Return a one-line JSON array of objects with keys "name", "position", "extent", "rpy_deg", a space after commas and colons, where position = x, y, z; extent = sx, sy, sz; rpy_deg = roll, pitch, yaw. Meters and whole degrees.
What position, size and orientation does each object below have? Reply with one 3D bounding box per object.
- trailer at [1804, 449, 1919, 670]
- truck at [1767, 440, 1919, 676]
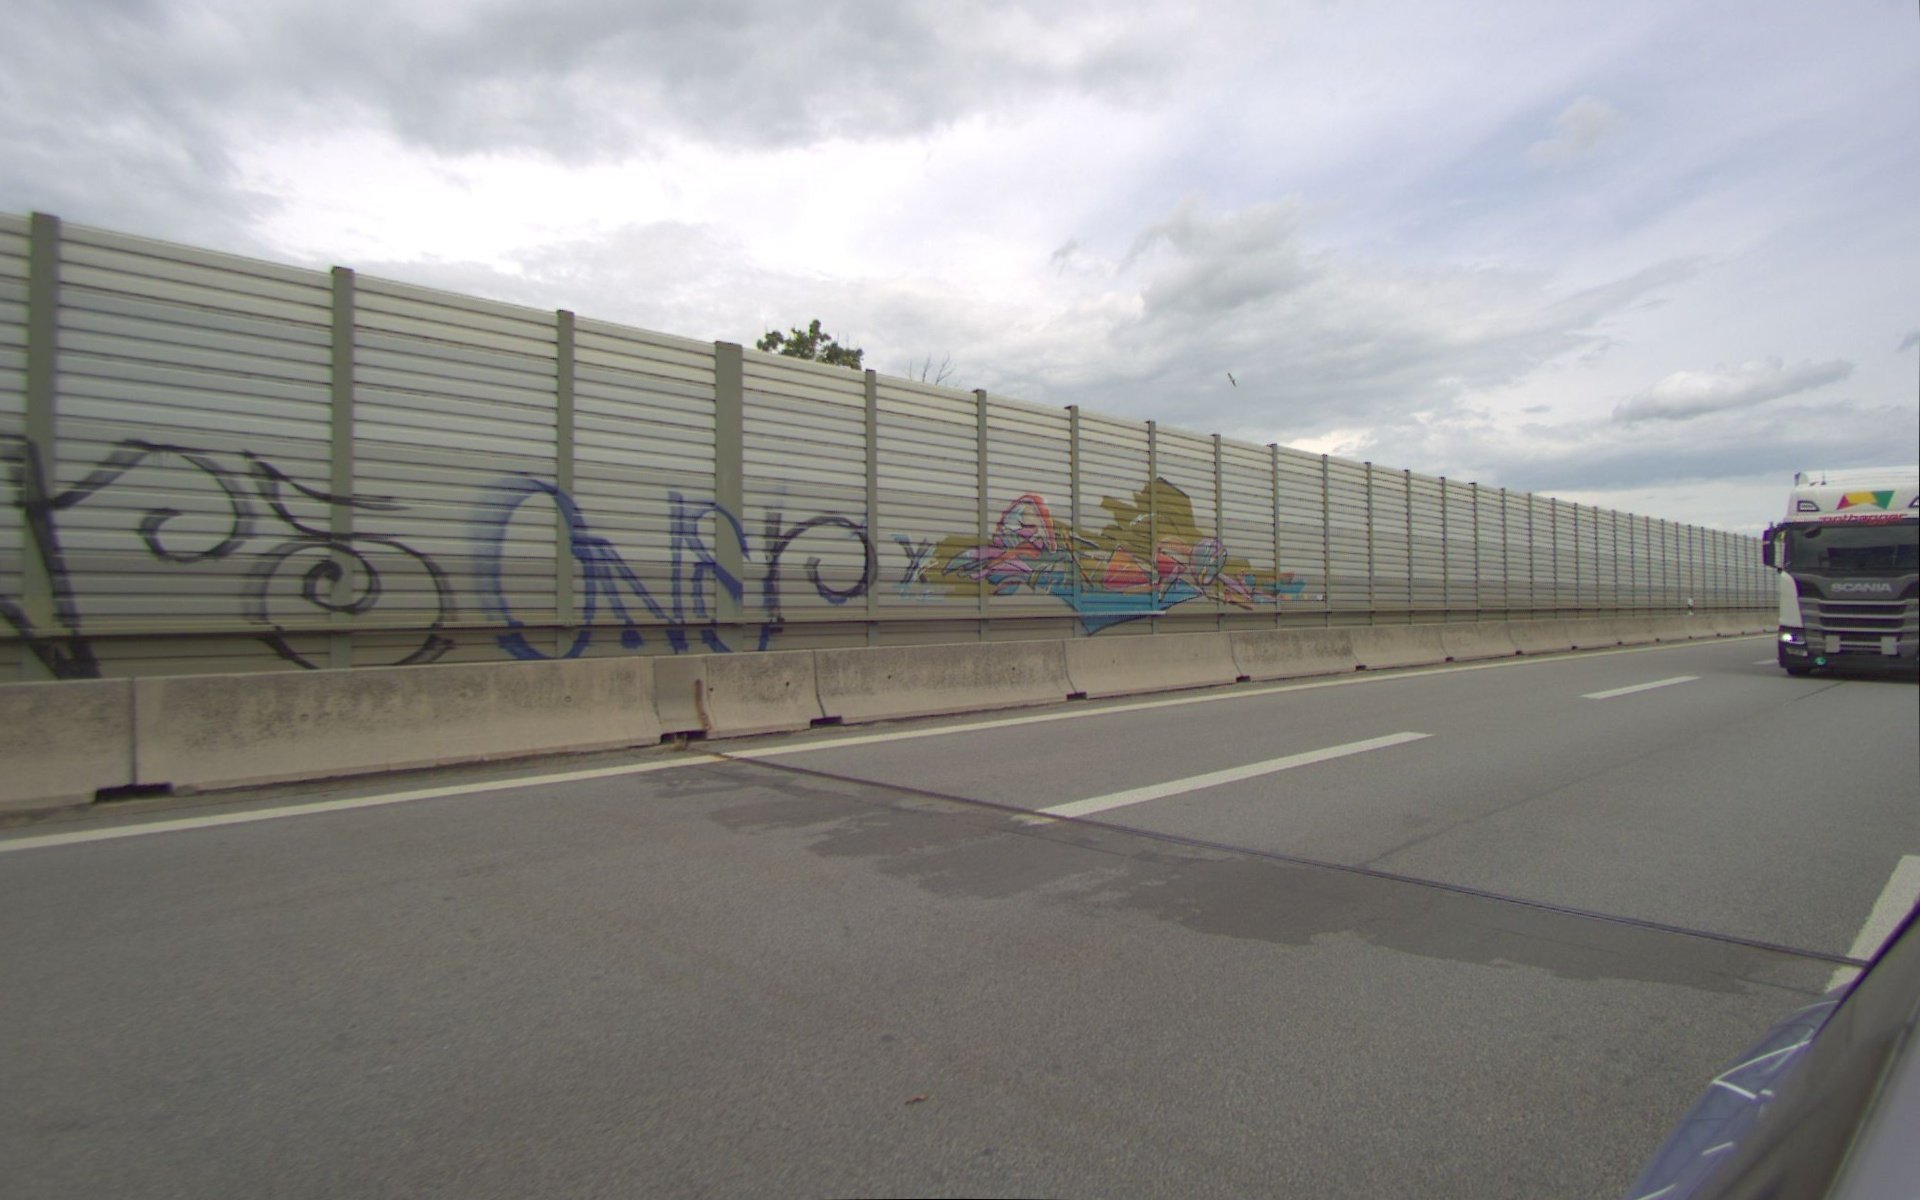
[{"name": "trailer", "position": [23.377, -0.835, 24.269], "extent": [13.860, 4.227, 2.797], "rpy_deg": [-1, 0, -42]}, {"name": "truck", "position": [18.002, -0.678, 19.530], "extent": [5.576, 4.010, 2.761], "rpy_deg": [1, -1, -40]}]
